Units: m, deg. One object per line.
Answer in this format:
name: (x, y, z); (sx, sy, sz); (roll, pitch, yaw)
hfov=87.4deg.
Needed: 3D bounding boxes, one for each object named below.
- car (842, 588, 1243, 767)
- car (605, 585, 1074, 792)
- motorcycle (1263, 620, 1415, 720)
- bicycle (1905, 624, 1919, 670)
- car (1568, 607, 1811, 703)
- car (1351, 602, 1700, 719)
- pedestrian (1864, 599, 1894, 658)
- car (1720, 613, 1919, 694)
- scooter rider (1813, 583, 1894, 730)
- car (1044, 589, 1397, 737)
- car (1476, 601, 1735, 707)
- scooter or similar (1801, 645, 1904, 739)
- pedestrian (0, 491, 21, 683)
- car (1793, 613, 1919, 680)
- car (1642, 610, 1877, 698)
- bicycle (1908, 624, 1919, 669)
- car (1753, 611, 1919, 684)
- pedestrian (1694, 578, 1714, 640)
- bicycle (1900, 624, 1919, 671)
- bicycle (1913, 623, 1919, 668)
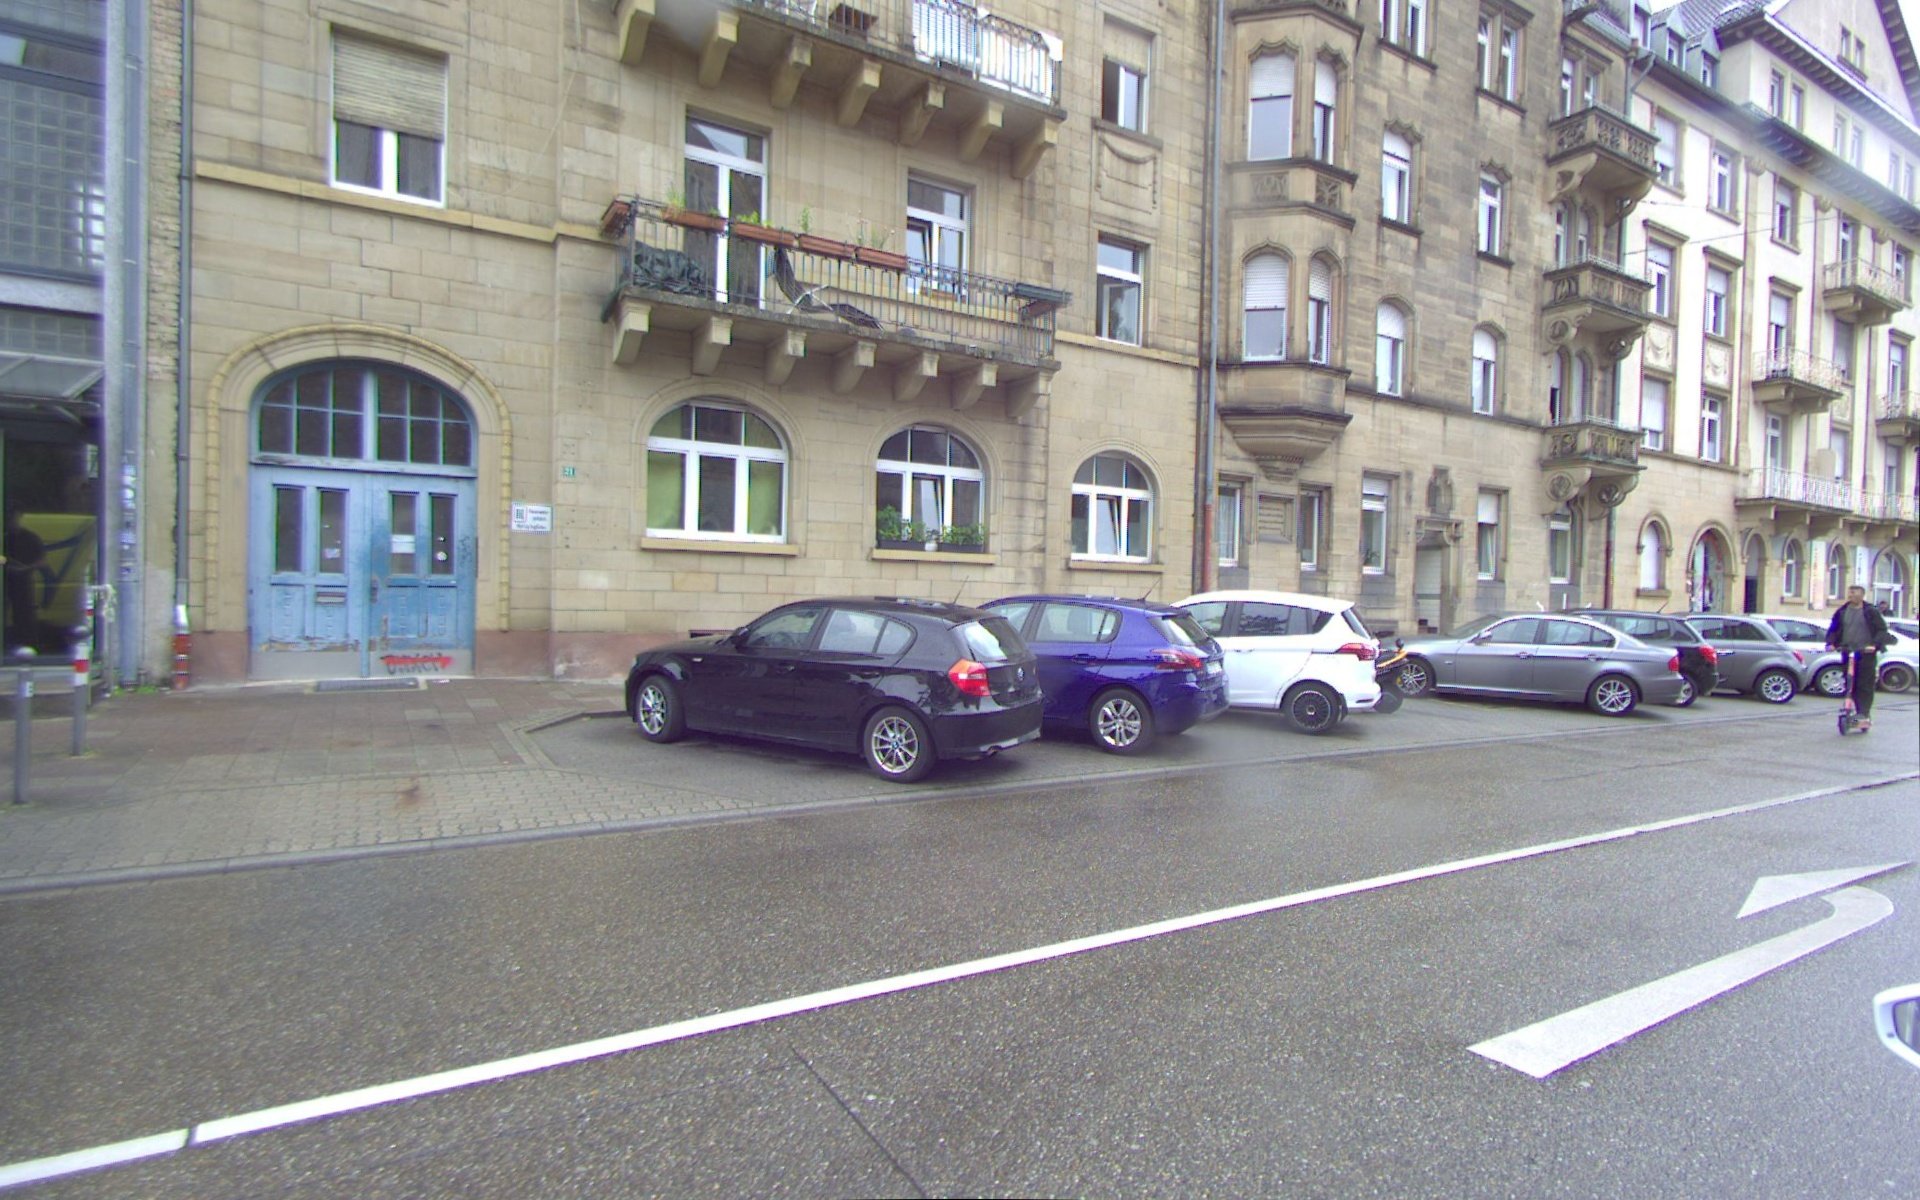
car: (0.843, 0.706, 10.944); (3.973, 1.594, 1.795); (1, 0, 31)
car: (-1.133, 0.668, 9.299); (3.968, 1.532, 1.797); (1, 0, 26)
motorcycle: (5.172, 0.921, 13.739); (1.837, 1.177, 0.633); (4, 1, 24)
bicycle: (27.186, 1.315, 27.517); (0.492, 1.283, 1.801); (1, 0, -31)
car: (13.545, 0.965, 18.887); (3.337, 1.578, 1.652); (1, 0, 22)
car: (8.585, 0.861, 15.710); (4.457, 1.566, 1.689); (1, 0, 18)
pedestrian: (31.804, 0.980, 34.755); (0.647, 2.040, 0.565); (1, 1, -30)
car: (18.910, 1.115, 21.915); (3.337, 1.578, 1.705); (1, 0, 22)
scooter rider: (12.266, 0.751, 13.794); (0.498, 1.961, 0.707); (1, 0, -32)
car: (3.209, 0.690, 12.510); (3.964, 1.576, 1.798); (1, 0, 20)
car: (11.004, 0.863, 17.412); (3.484, 1.619, 1.605); (1, 0, 22)
scooter or similar: (12.253, 1.229, 13.785); (1.370, 1.181, 0.697); (1, 0, -32)
pedestrian: (-9.323, -0.126, 9.335); (0.781, 1.751, 0.997); (1, 1, -39)
car: (23.431, 1.159, 25.325); (3.337, 1.578, 1.705); (1, 0, 22)
car: (16.062, 1.033, 20.385); (3.337, 1.578, 1.705); (1, 0, 22)
bicycle: (27.706, 1.334, 27.973); (0.492, 1.283, 1.801); (1, 0, -31)
car: (21.069, 1.086, 23.681); (3.337, 1.578, 1.705); (1, 0, 22)
pedestrian: (22.239, 0.265, 30.030); (0.343, 1.847, 0.364); (2, 0, -32)
bicycle: (26.728, 1.314, 27.227); (0.516, 1.283, 1.754); (1, 0, -31)
bicycle: (28.481, 1.334, 28.676); (0.601, 1.283, 1.754); (1, 0, -31)
